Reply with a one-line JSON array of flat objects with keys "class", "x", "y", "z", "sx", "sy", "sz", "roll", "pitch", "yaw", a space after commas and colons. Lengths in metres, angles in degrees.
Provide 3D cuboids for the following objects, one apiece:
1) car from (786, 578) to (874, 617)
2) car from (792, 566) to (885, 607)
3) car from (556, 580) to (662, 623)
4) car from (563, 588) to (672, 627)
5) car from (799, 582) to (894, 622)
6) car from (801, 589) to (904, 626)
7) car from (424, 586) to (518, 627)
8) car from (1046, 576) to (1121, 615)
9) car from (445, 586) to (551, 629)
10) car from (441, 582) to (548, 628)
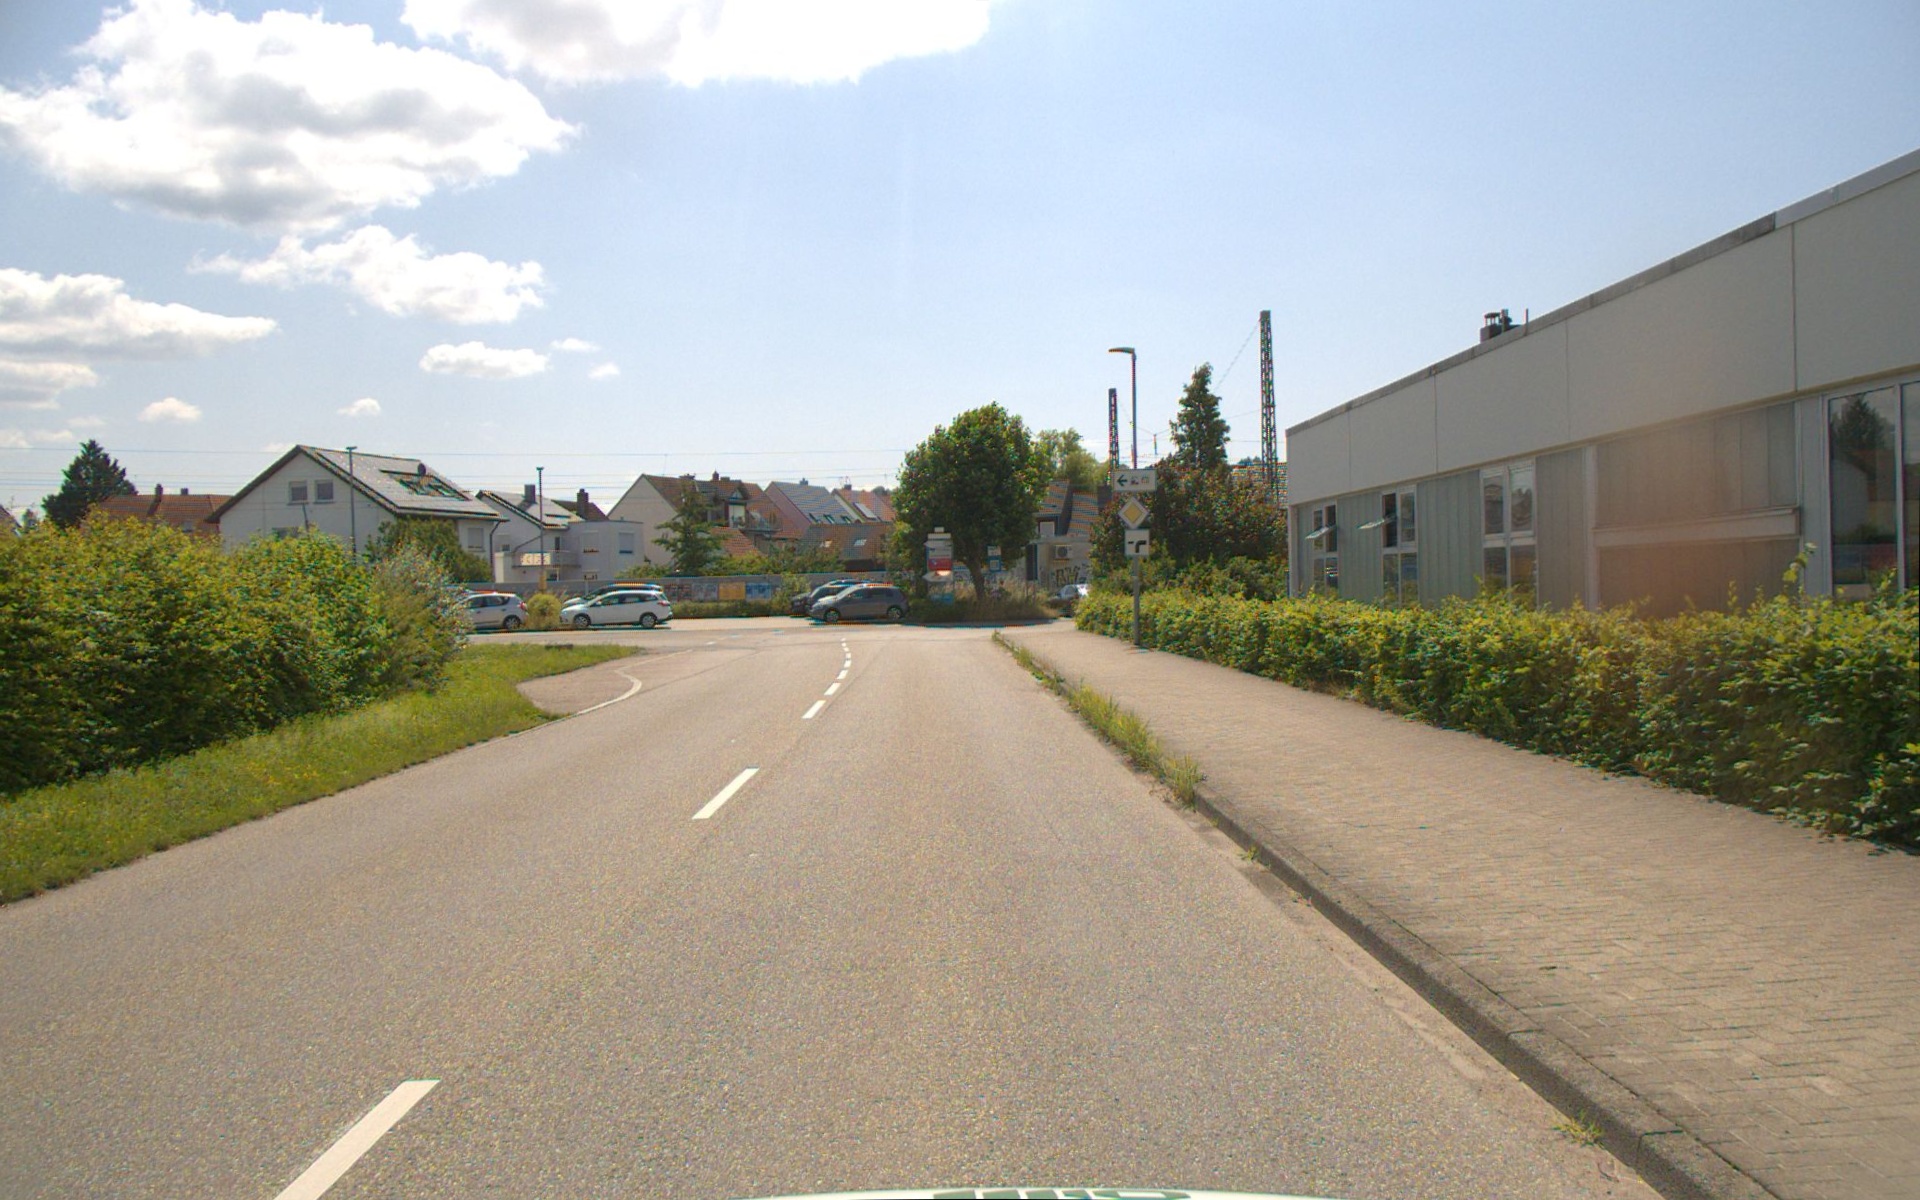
[{"class": "car", "x": -6.013, "y": -0.095, "z": 76.284, "sx": 3.915, "sy": 1.760, "sz": 1.765, "roll": 1, "pitch": 0, "yaw": -11}, {"class": "car", "x": -5.444, "y": -0.607, "z": 73.771, "sx": 3.916, "sy": 1.686, "sz": 1.995, "roll": -2, "pitch": 1, "yaw": -11}, {"class": "car", "x": -15.064, "y": 0.054, "z": 71.238, "sx": 4.371, "sy": 1.720, "sz": 1.996, "roll": -1, "pitch": 2, "yaw": -10}, {"class": "car", "x": -13.798, "y": 0.317, "z": 66.604, "sx": 4.209, "sy": 1.502, "sz": 1.821, "roll": 1, "pitch": 0, "yaw": -14}, {"class": "car", "x": -4.923, "y": 0.096, "z": 71.454, "sx": 3.915, "sy": 1.614, "sz": 1.775, "roll": -2, "pitch": 0, "yaw": -11}, {"class": "car", "x": -4.492, "y": 0.299, "z": 68.847, "sx": 4.111, "sy": 1.488, "sz": 1.661, "roll": -1, "pitch": 0, "yaw": -10}, {"class": "car", "x": -20.690, "y": 0.272, "z": 70.130, "sx": 3.720, "sy": 1.585, "sz": 1.688, "roll": -2, "pitch": 1, "yaw": -15}, {"class": "car", "x": 5.337, "y": -0.223, "z": 71.911, "sx": 1.727, "sy": 1.410, "sz": 3.976, "roll": 0, "pitch": 4, "yaw": -21}, {"class": "car", "x": -18.337, "y": 0.299, "z": 65.668, "sx": 3.941, "sy": 1.589, "sz": 1.812, "roll": -1, "pitch": 0, "yaw": -20}, {"class": "car", "x": -19.137, "y": 0.196, "z": 67.903, "sx": 4.097, "sy": 1.667, "sz": 1.945, "roll": -3, "pitch": 1, "yaw": -19}]
